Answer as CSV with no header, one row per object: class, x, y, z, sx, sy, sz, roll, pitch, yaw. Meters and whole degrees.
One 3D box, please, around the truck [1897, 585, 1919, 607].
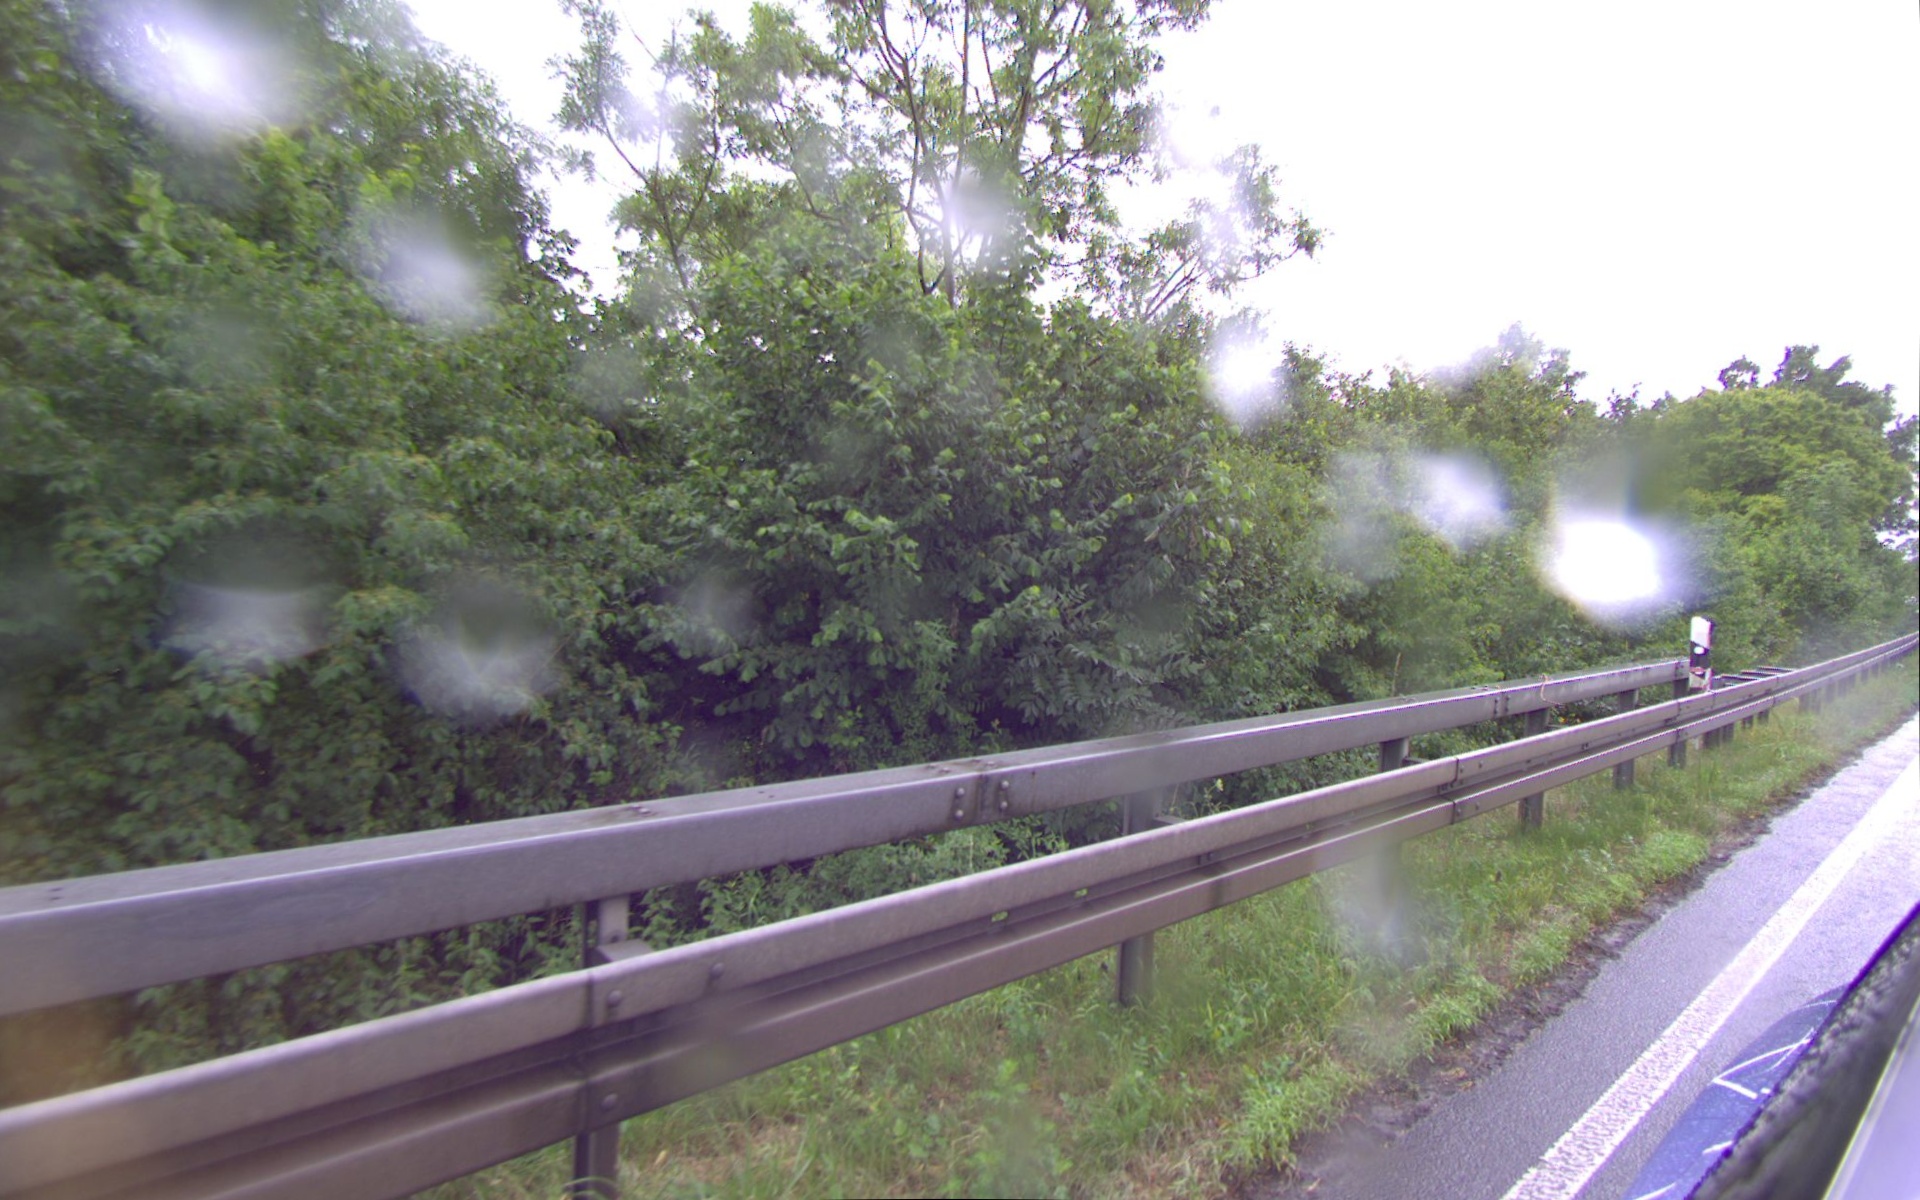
truck,127.934,-0.564,136.540,1.472,2.913,5.611,0,0,36
